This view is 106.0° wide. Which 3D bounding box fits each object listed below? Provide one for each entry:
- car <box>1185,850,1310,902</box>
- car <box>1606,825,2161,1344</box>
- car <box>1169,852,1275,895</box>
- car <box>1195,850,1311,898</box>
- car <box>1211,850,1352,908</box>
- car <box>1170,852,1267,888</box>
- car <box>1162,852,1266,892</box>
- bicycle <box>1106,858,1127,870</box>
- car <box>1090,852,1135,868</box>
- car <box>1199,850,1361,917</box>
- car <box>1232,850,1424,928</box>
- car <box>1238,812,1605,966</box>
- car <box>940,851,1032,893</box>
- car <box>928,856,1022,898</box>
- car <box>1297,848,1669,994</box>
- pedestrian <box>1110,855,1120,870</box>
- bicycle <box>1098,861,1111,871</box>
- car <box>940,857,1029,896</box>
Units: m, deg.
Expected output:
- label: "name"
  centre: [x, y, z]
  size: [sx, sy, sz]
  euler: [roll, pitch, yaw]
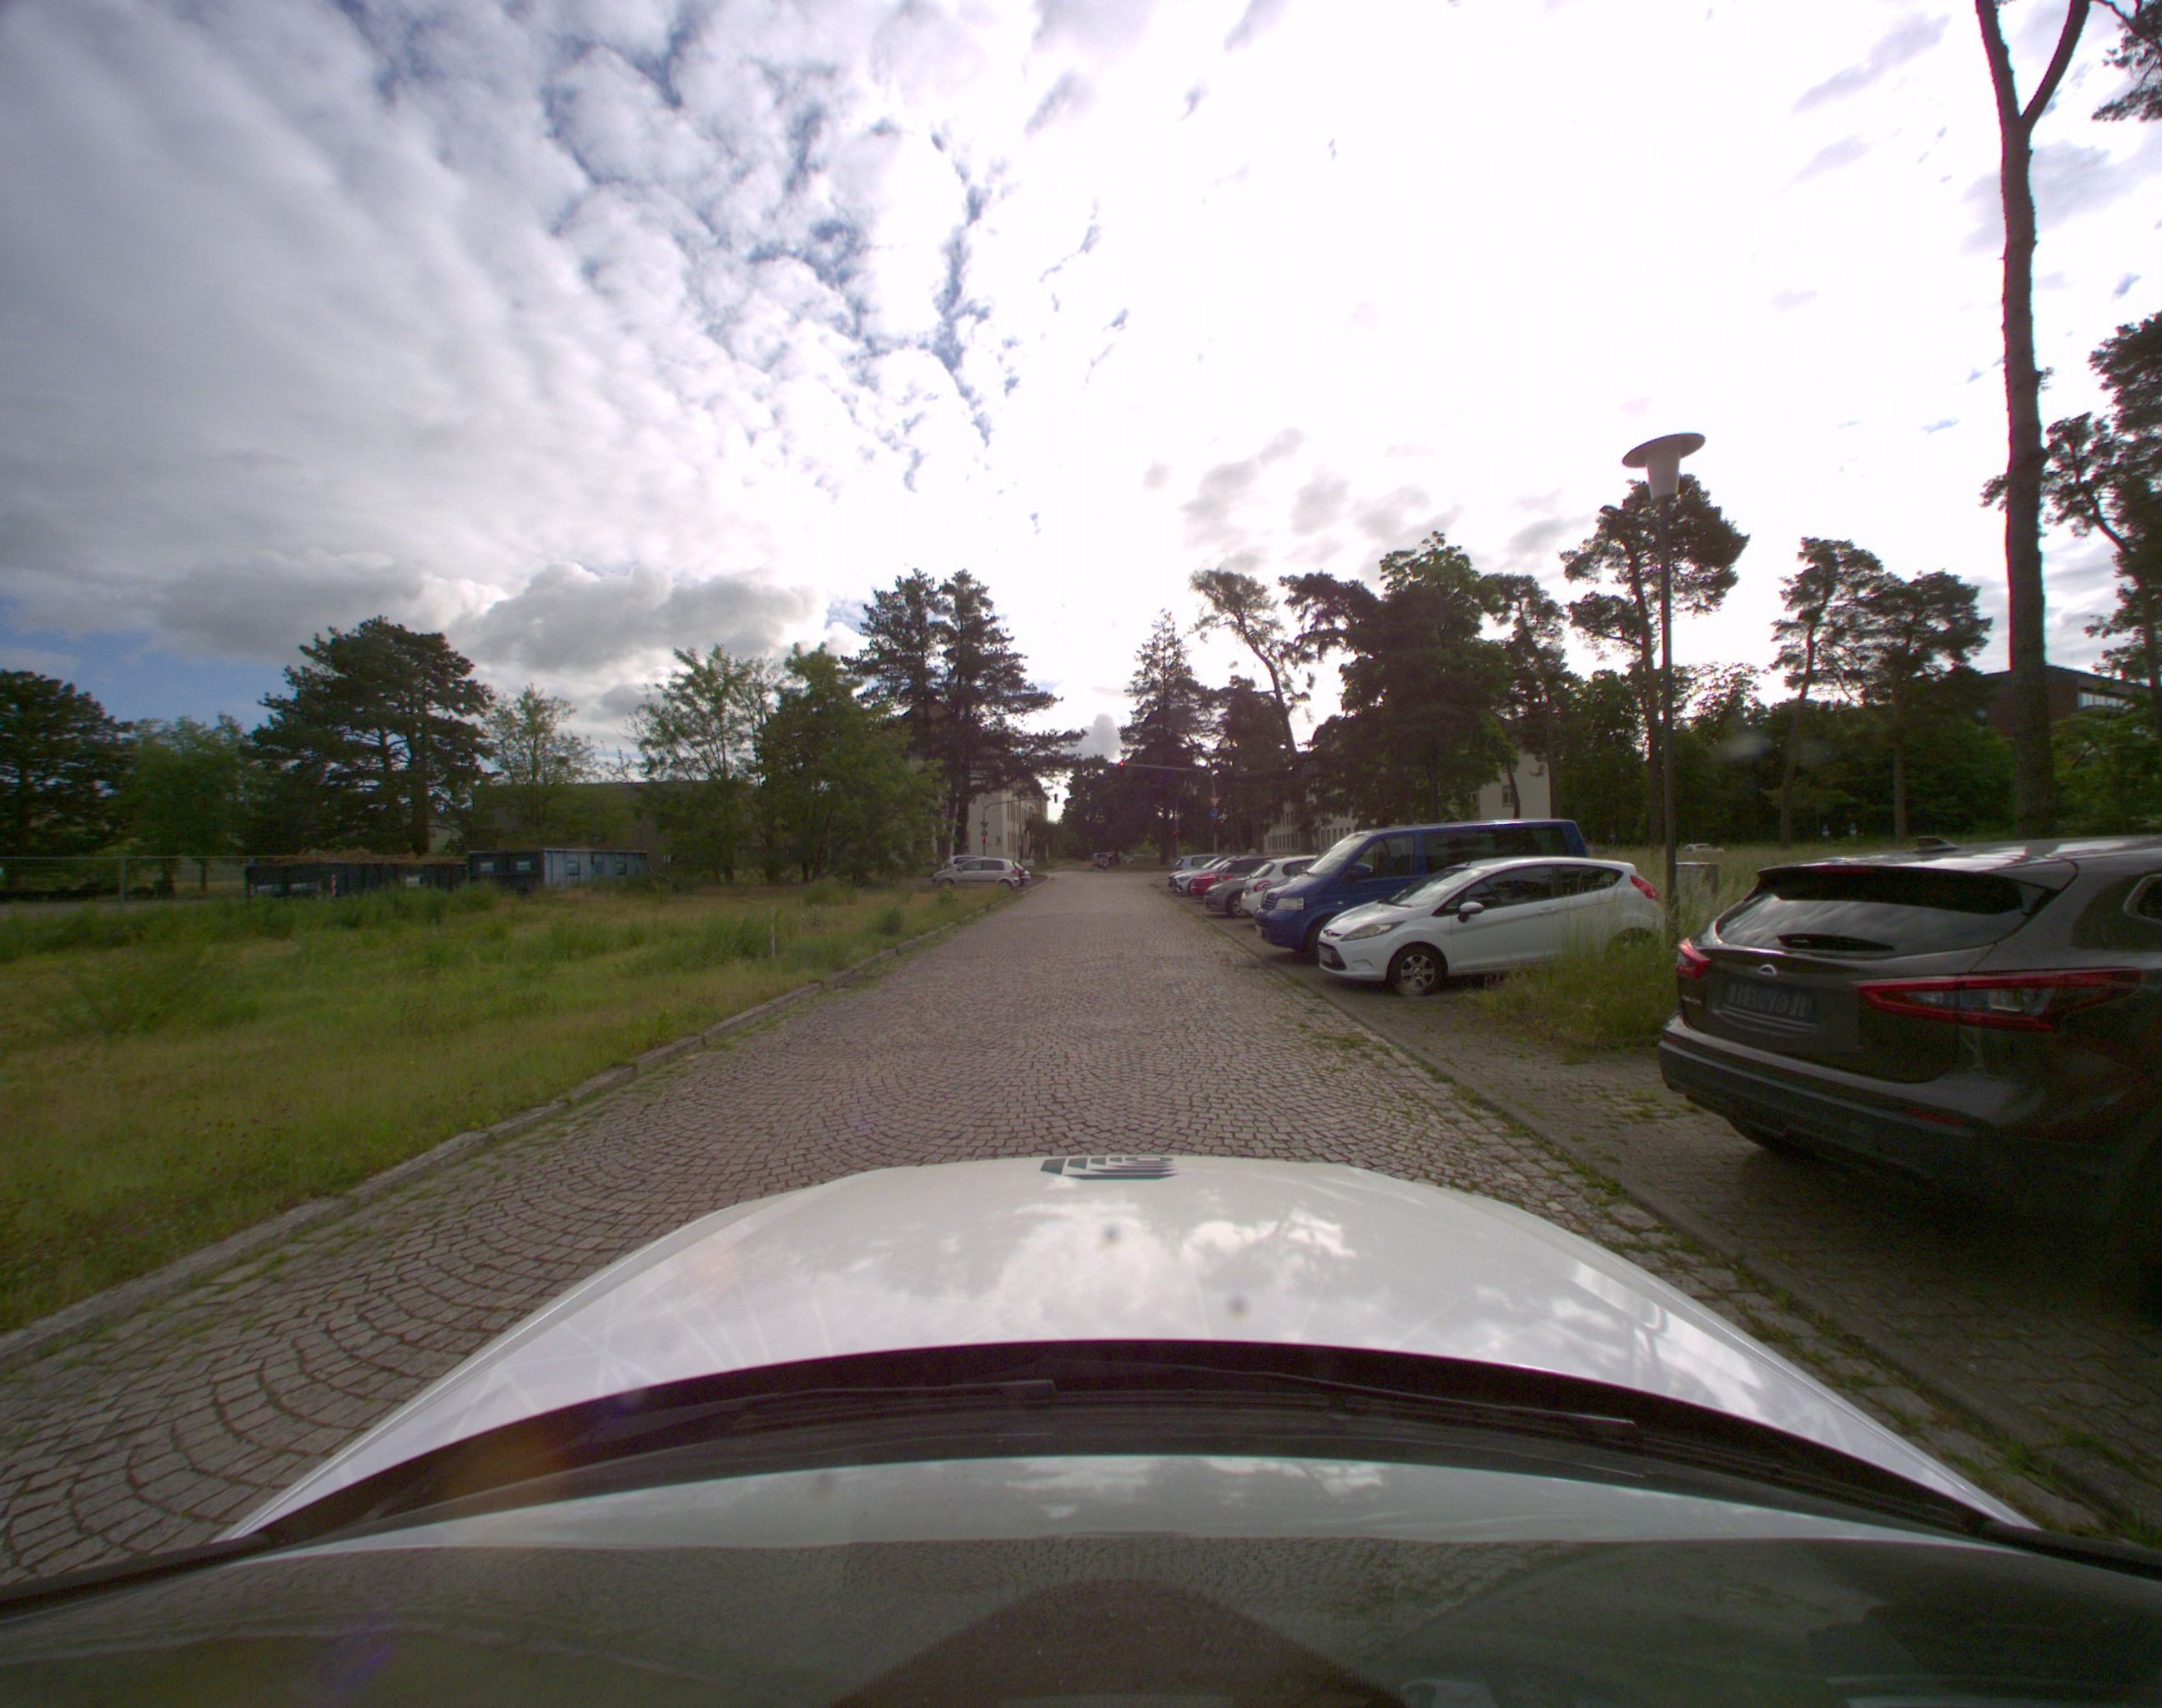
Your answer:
- label: "car"
  centre: [5.307, 0.693, 26.179]
  size: [3.661, 1.449, 1.523]
  euler: [-3, -1, -1]
- label: "car"
  centre: [4.810, 0.656, 3.457]
  size: [4.017, 1.552, 1.750]
  euler: [-3, -1, -1]
- label: "car"
  centre: [5.278, 0.714, 30.719]
  size: [3.664, 1.421, 1.522]
  euler: [-3, -1, -3]
- label: "car"
  centre: [5.956, 0.692, 28.455]
  size: [3.661, 1.449, 1.523]
  euler: [-3, -1, -1]
- label: "car"
  centre: [5.711, 0.697, 23.466]
  size: [3.661, 1.449, 1.523]
  euler: [-3, -1, -1]
- label: "car"
  centre: [6.082, 0.702, 36.214]
  size: [3.959, 1.421, 1.618]
  euler: [-3, -1, -3]
- label: "car"
  centre: [5.441, 0.725, 33.573]
  size: [3.959, 1.421, 1.618]
  euler: [-3, -1, -3]
- label: "bicycle"
  centre: [3.742, 1.085, 85.199]
  size: [2.132, 1.215, 0.621]
  euler: [0, -1, -3]
- label: "car"
  centre: [3.994, 0.727, 103.115]
  size: [5.442, 2.014, 2.262]
  euler: [0, 0, -8]
- label: "car"
  centre: [4.932, 0.720, 20.489]
  size: [3.661, 1.449, 1.523]
  euler: [-3, -1, -1]
- label: "car"
  centre: [5.279, 0.735, 17.702]
  size: [3.661, 1.449, 1.523]
  euler: [-3, -1, -1]
- label: "car"
  centre: [4.992, 0.497, 12.428]
  size: [4.740, 1.954, 1.931]
  euler: [-3, -1, -1]
- label: "car"
  centre: [-4.703, 0.878, 40.724]
  size: [4.248, 1.840, 1.744]
  euler: [-3, -1, 0]
- label: "car"
  centre: [-4.541, 0.978, 35.314]
  size: [3.812, 1.572, 1.563]
  euler: [-3, -1, -2]
- label: "car"
  centre: [4.684, 0.748, 9.838]
  size: [3.661, 1.449, 1.614]
  euler: [-3, -1, -2]
- label: "pedestrian"
  centre: [3.549, 0.883, 85.546]
  size: [1.031, 1.614, 0.756]
  euler: [0, -1, -3]
- label: "bicycle"
  centre: [2.331, 1.182, 81.150]
  size: [0.623, 0.945, 1.649]
  euler: [0, 0, -26]
- label: "car"
  centre: [-4.432, 1.023, 37.730]
  size: [3.808, 1.572, 1.564]
  euler: [-3, -1, 0]
